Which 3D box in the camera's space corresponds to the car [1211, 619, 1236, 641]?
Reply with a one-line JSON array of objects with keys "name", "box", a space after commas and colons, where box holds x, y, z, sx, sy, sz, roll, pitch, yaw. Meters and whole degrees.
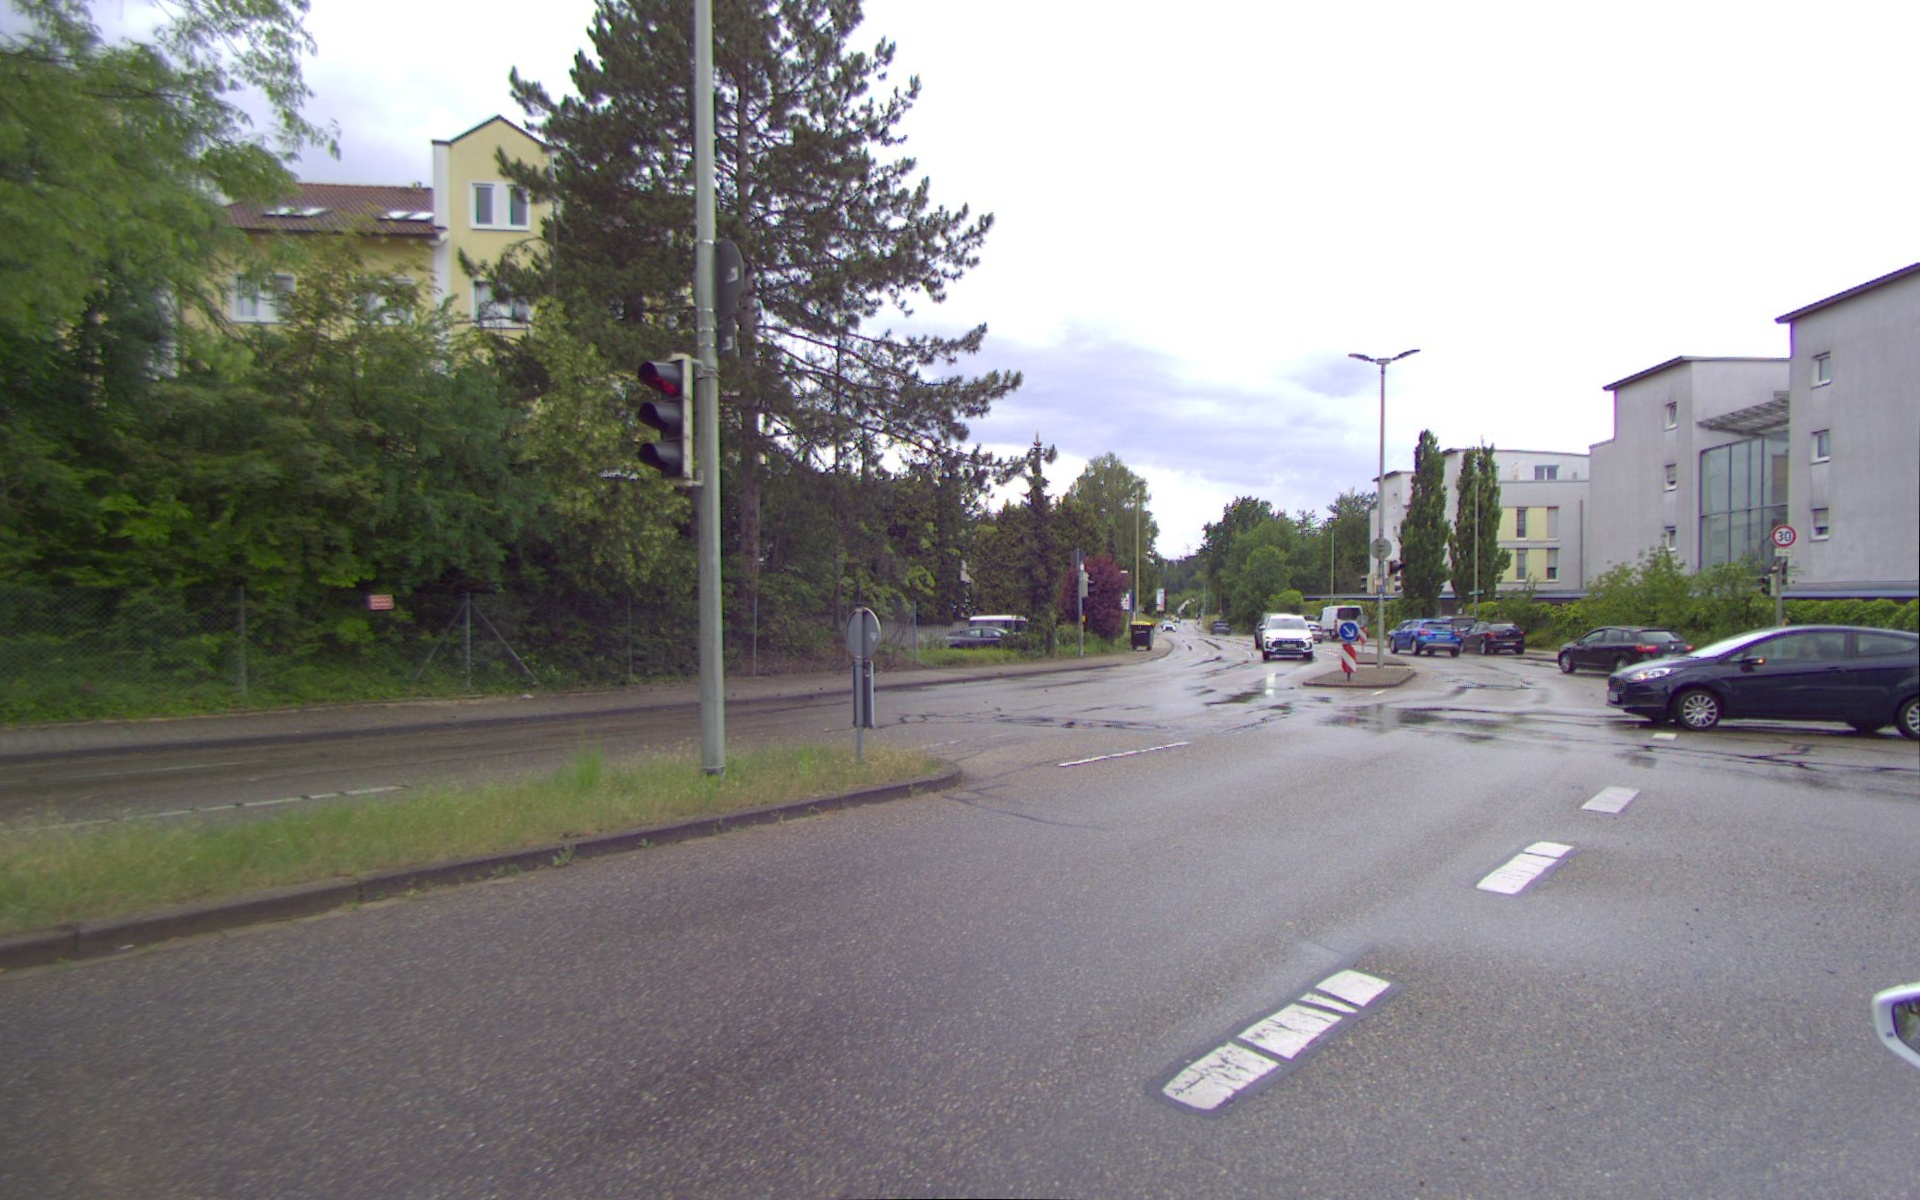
[{"name": "car", "box": [28.218, 3.242, 107.509, 1.941, 2.041, 4.001, 0, 3, 5]}]

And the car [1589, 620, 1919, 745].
[{"name": "car", "box": [11.320, 1.077, 14.071, 3.922, 1.521, 1.925, 0, 0, 21]}]

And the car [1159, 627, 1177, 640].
[{"name": "car", "box": [30.349, 4.827, 146.751, 1.960, 1.476, 4.000, -1, 3, 3]}]

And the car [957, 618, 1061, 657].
[{"name": "car", "box": [2.034, 1.528, 41.690, 3.920, 1.484, 2.000, 0, 1, 18]}]

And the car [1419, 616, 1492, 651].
[{"name": "car", "box": [24.201, 1.614, 49.216, 1.959, 1.576, 4.002, -1, -1, 7]}]

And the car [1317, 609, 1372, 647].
[{"name": "car", "box": [26.474, 1.984, 69.331, 2.548, 2.445, 5.261, 0, -3, 10]}]

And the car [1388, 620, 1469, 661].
[{"name": "car", "box": [19.658, 1.674, 42.352, 1.959, 1.576, 4.002, -1, -1, 7]}]

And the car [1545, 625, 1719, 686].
[{"name": "car", "box": [18.696, 1.506, 28.205, 1.962, 1.572, 3.997, -1, -2, -5]}]

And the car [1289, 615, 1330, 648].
[{"name": "car", "box": [22.551, 1.989, 64.926, 1.959, 1.782, 4.001, 0, 3, 11]}]

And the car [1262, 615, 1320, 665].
[{"name": "car", "box": [12.507, 1.446, 37.793, 1.961, 1.662, 3.999, 0, 0, 20]}]

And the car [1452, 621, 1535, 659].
[{"name": "car", "box": [23.672, 1.745, 44.728, 1.959, 1.576, 4.002, -1, -1, 7]}]

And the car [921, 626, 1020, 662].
[{"name": "car", "box": [0.407, 1.675, 39.125, 3.516, 1.258, 1.653, 0, 1, 18]}]
